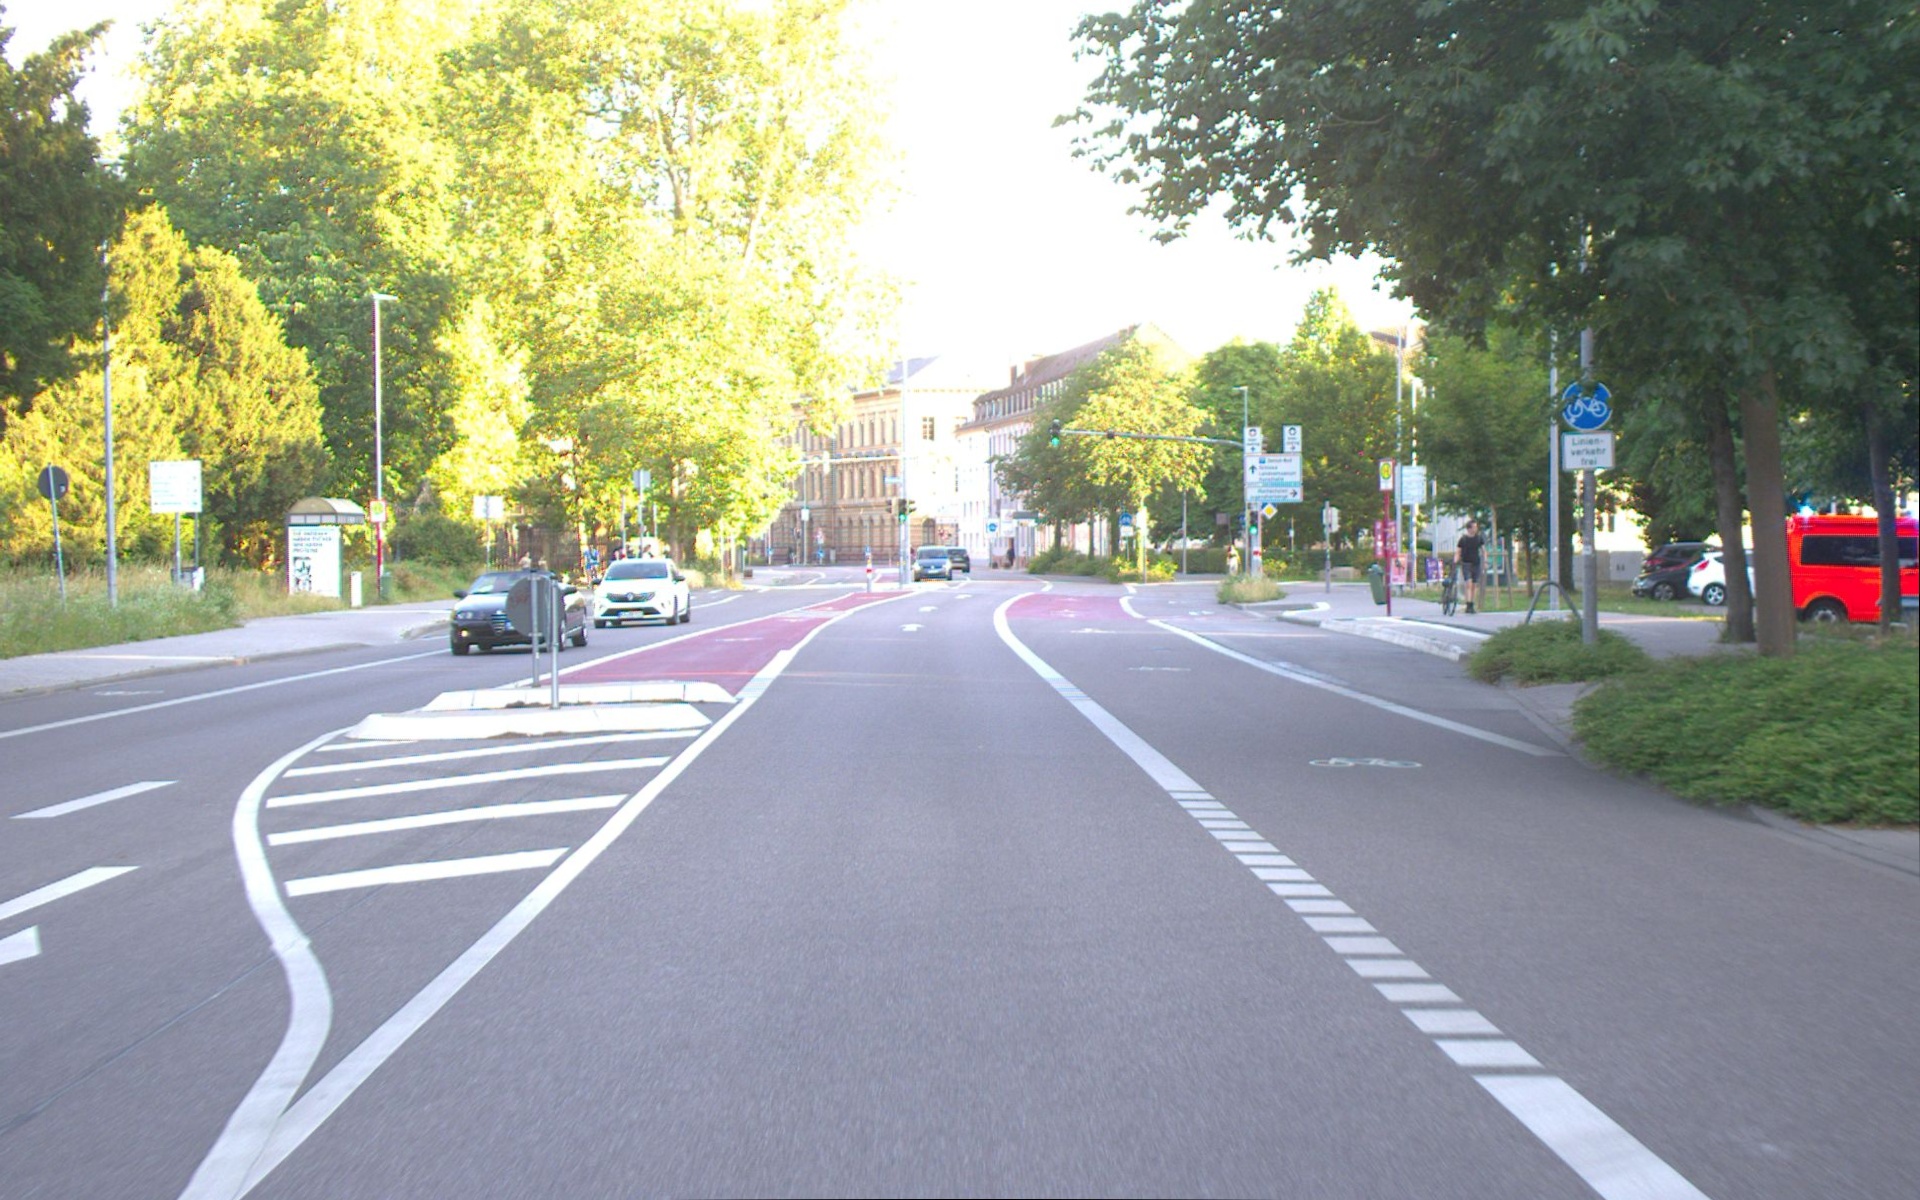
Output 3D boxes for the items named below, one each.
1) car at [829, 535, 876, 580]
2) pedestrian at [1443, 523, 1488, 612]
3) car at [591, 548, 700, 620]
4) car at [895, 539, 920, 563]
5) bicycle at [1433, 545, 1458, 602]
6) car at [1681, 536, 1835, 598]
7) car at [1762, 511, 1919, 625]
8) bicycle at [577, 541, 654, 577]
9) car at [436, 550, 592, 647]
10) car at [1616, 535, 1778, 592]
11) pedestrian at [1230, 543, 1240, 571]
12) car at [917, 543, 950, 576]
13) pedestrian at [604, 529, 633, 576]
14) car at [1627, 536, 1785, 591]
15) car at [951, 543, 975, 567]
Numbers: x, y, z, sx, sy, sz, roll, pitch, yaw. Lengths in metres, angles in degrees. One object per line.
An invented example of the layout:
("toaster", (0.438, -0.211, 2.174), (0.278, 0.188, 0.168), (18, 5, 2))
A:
("car", (-3.633, -1.441, 116.628), (1.493, 1.481, 3.491), (0, 1, 0))
("pedestrian", (9.884, -0.640, 67.220), (0.769, 1.734, 0.731), (0, 1, 0))
("car", (-6.644, -0.361, 73.036), (1.798, 1.448, 4.127), (0, 1, 2))
("car", (-3.322, -3.084, 216.968), (1.493, 1.481, 3.491), (0, 1, 0))
("bicycle", (9.463, -0.532, 67.079), (0.299, 1.096, 1.521), (0, 1, 1))
("car", (20.923, -0.869, 90.198), (3.774, 1.585, 1.715), (0, 1, 7))
("car", (16.936, -0.587, 61.418), (4.912, 1.983, 1.921), (0, 1, 7))
("bicycle", (-11.577, -1.366, 115.640), (2.463, 1.191, 0.757), (0, 1, 9))
("car", (-6.985, -0.047, 54.233), (1.798, 1.448, 4.127), (0, 1, 2))
("car", (21.329, -1.061, 99.595), (4.460, 1.585, 1.715), (0, 1, 7))
("pedestrian", (12.085, -1.892, 151.204), (0.390, 1.234, 0.404), (0, 1, 0))
("car", (-1.250, -1.911, 161.632), (1.493, 1.481, 3.491), (0, 1, 0))
("pedestrian", (-11.499, -1.605, 115.638), (0.791, 1.575, 0.745), (1, 1, 9))
("car", (22.288, -1.095, 102.823), (4.460, 1.585, 1.715), (0, 1, 7))
("car", (0.195, -2.842, 216.074), (1.493, 1.481, 3.491), (0, 1, 0))
